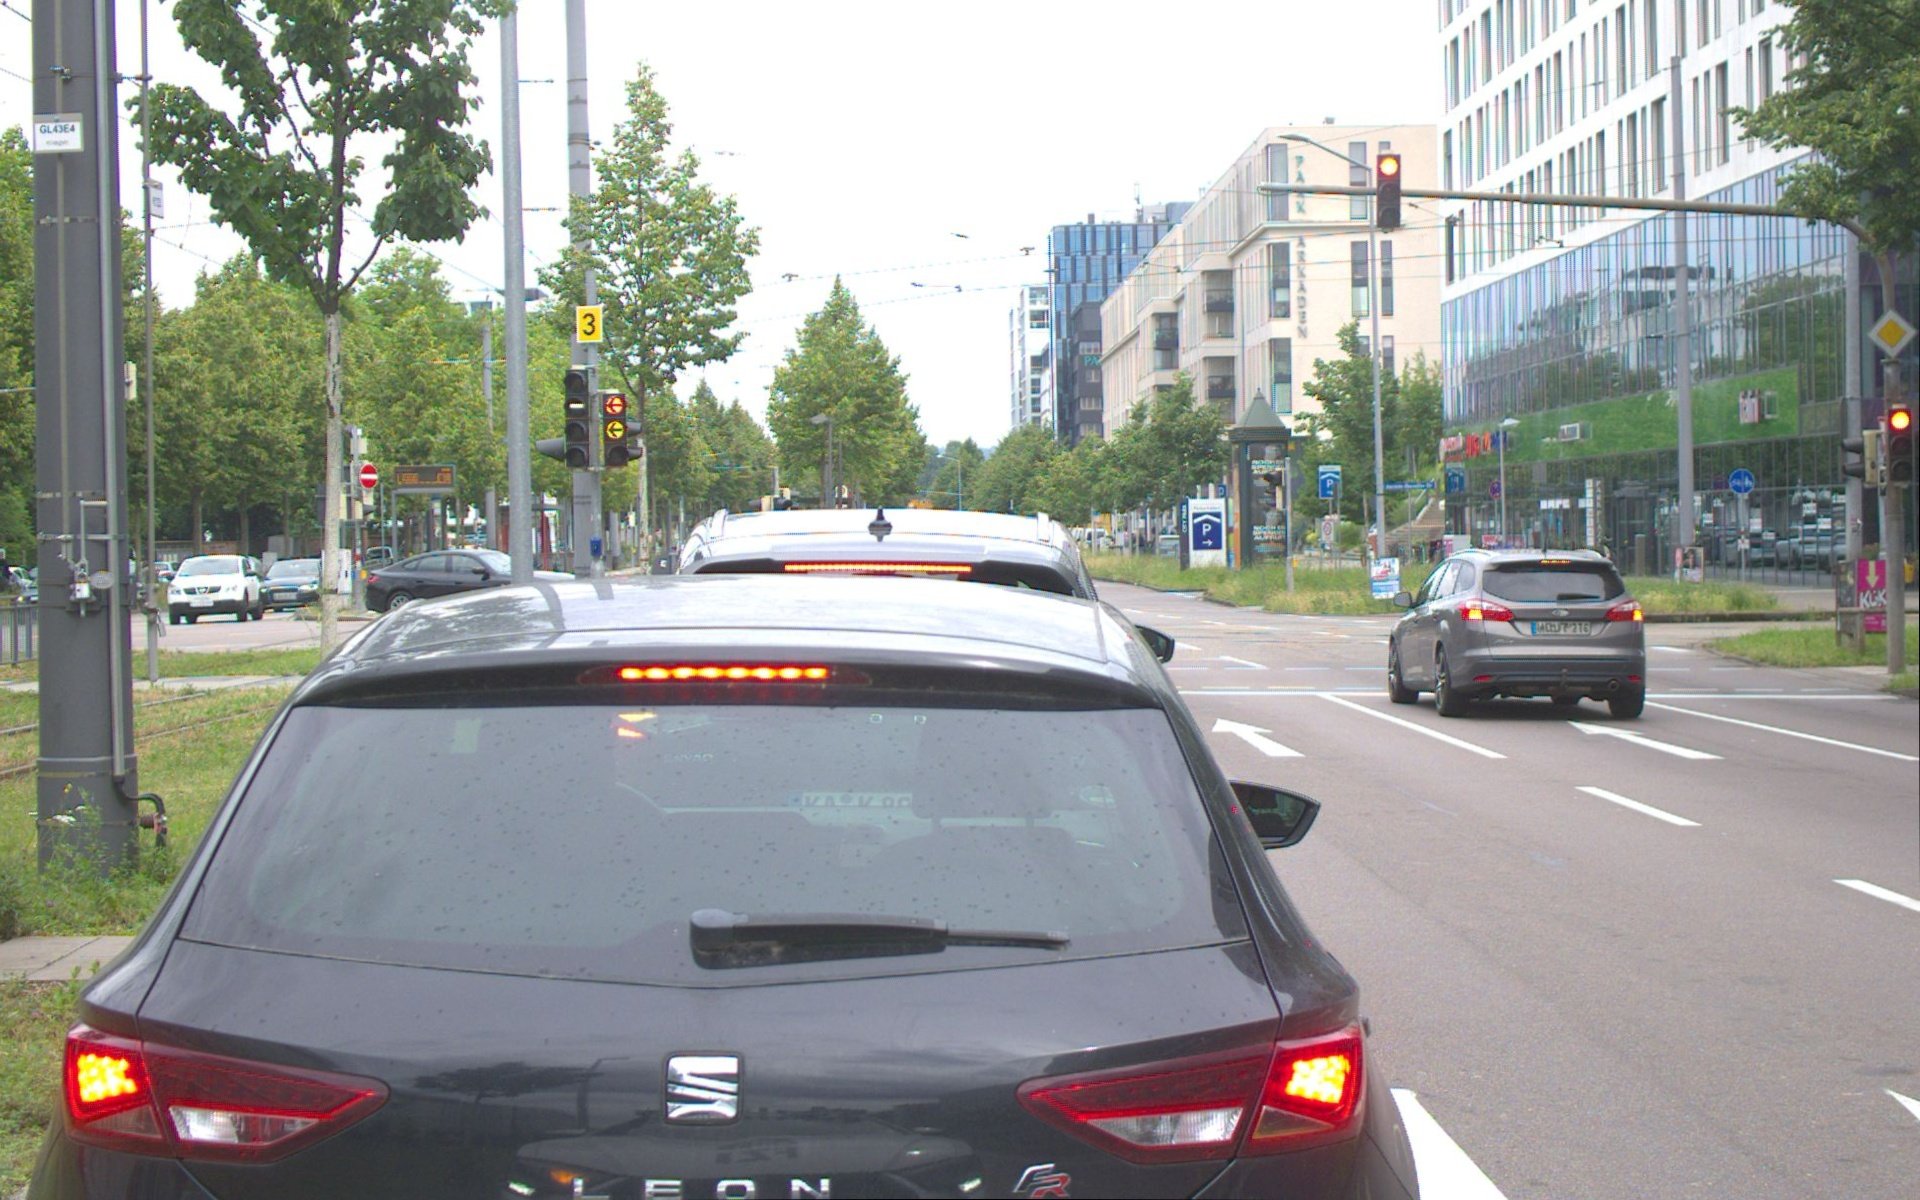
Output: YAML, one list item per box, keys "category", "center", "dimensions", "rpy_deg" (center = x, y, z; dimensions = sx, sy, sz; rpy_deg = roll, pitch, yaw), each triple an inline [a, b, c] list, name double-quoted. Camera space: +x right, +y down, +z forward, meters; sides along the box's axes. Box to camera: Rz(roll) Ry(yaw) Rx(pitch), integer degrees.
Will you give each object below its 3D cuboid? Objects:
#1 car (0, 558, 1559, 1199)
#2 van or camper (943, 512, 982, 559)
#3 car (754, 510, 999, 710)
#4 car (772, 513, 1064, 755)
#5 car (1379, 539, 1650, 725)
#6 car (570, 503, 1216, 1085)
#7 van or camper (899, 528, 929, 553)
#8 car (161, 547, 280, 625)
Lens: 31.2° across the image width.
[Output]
- category: "car"
  center: [-0.320, 0.668, 5.483]
  dimensions: [1.743, 1.412, 4.000]
  rpy_deg: [1, 1, -1]
- category: "van or camper"
  center: [0.120, -3.550, 188.236]
  dimensions: [2.109, 2.348, 4.924]
  rpy_deg: [0, 3, 0]
- category: "car"
  center: [-0.687, 0.035, 31.151]
  dimensions: [1.993, 1.676, 4.000]
  rpy_deg: [1, 1, 2]
- category: "car"
  center: [-0.236, 0.192, 26.091]
  dimensions: [1.994, 1.676, 4.000]
  rpy_deg: [1, 1, 2]
- category: "car"
  center: [4.983, 0.239, 31.391]
  dimensions: [1.748, 1.494, 4.269]
  rpy_deg: [0, 2, 0]
- category: "car"
  center: [-0.210, 0.507, 11.708]
  dimensions: [1.802, 1.619, 4.000]
  rpy_deg: [-1, 1, -1]
- category: "van or camper"
  center: [-3.100, -4.050, 232.656]
  dimensions: [1.993, 1.609, 4.789]
  rpy_deg: [0, 2, 0]
- category: "car"
  center: [-17.343, -0.351, 80.800]
  dimensions: [1.993, 1.744, 4.201]
  rpy_deg: [-1, 1, -2]
